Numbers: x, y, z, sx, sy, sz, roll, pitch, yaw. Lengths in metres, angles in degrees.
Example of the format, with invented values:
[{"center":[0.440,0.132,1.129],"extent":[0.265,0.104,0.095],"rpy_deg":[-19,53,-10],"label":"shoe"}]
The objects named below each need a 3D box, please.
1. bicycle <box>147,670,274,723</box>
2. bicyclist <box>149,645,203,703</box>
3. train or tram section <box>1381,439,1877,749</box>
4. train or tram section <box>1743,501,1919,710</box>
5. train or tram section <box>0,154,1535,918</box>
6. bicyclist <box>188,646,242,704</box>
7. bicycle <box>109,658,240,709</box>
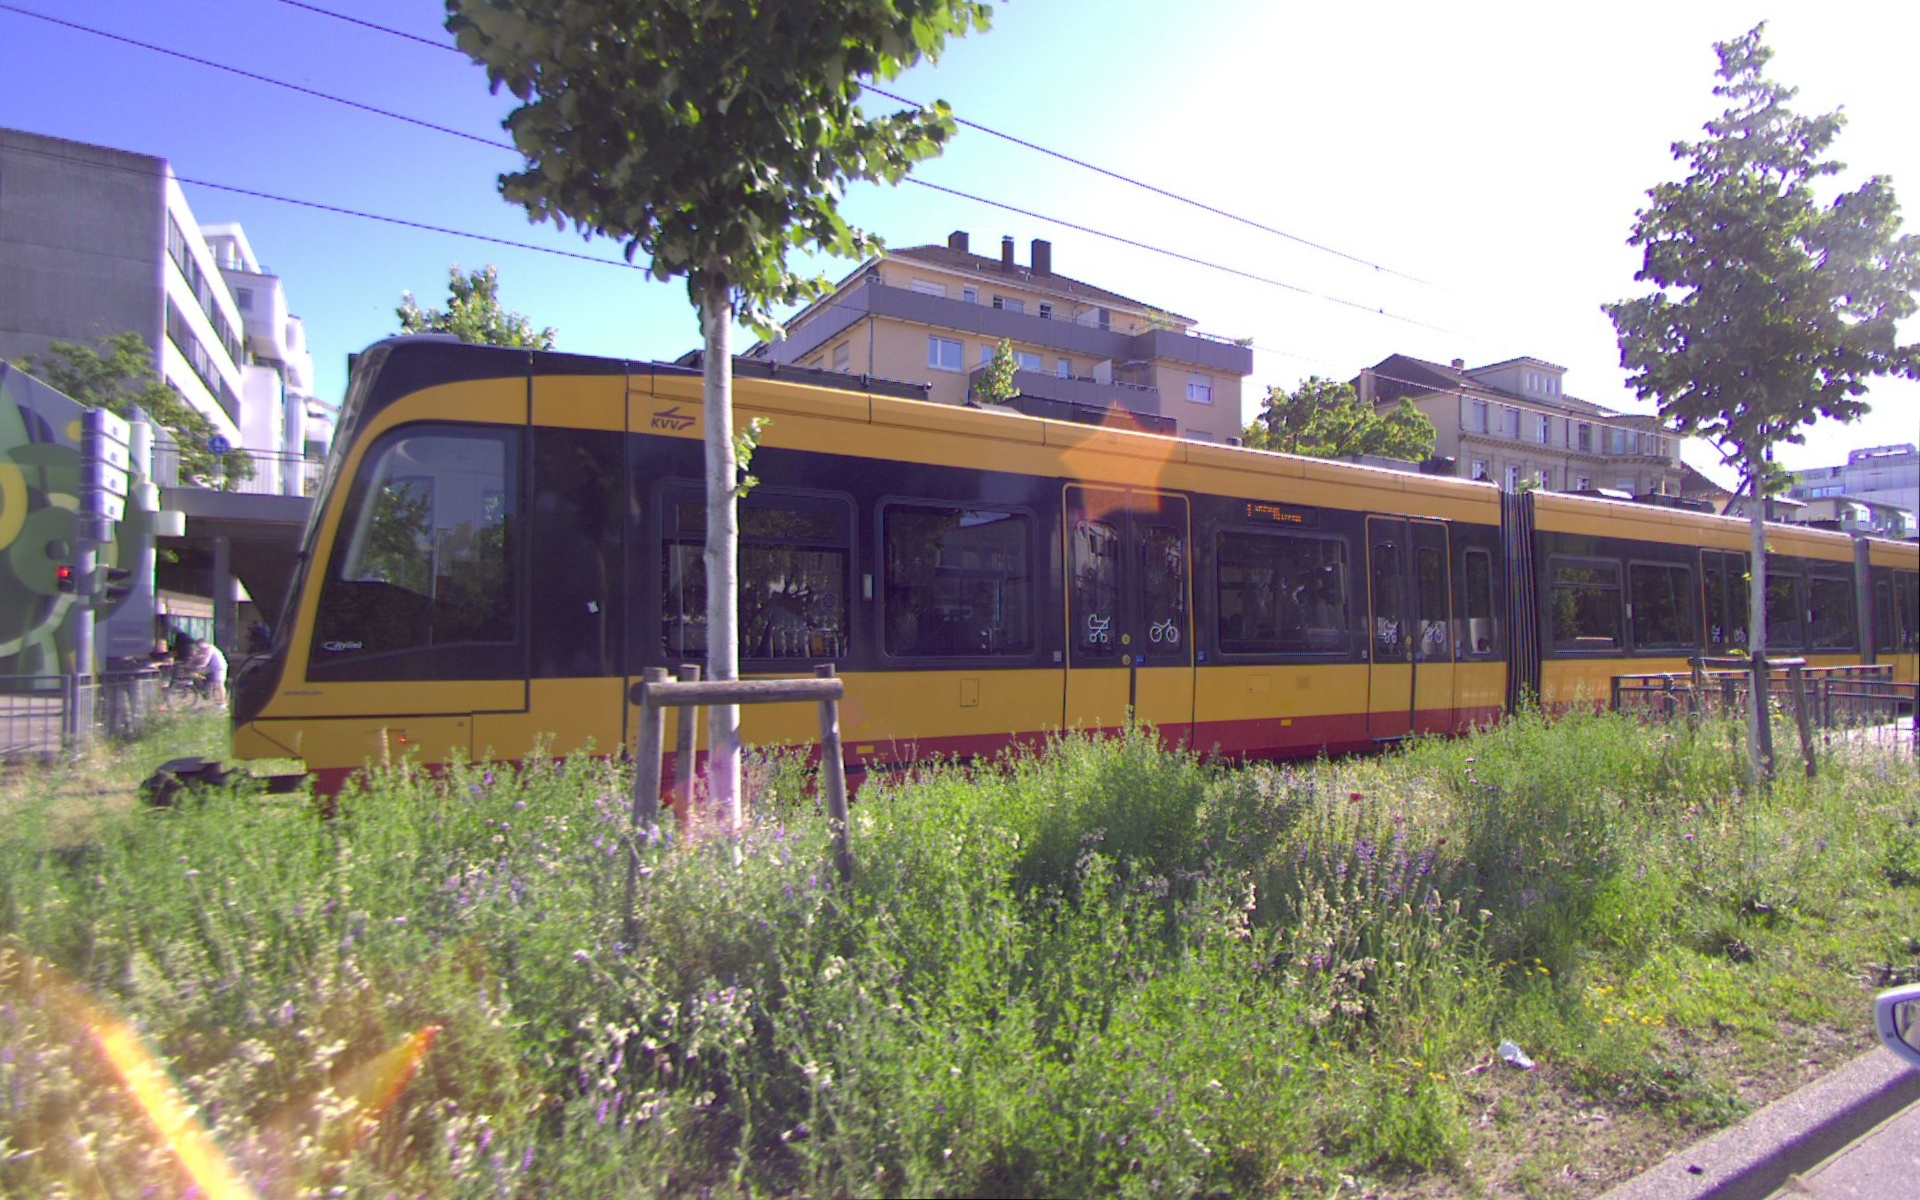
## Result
[{"center":[-16.769,2.128,22.590],"extent":[0.551,0.964,2.676],"rpy_deg":[1,-1,8],"label":"bicycle"},{"center":[-17.637,1.658,22.610],"extent":[0.568,1.241,0.768],"rpy_deg":[1,-1,9],"label":"bicyclist"},{"center":[11.060,0.054,15.833],"extent":[11.188,3.718,1.983],"rpy_deg":[1,-1,-31],"label":"train or tram section"},{"center":[20.742,0.230,21.697],"extent":[11.548,3.718,1.984],"rpy_deg":[1,-1,-31],"label":"train or tram section"},{"center":[0.472,-0.154,9.262],"extent":[13.993,3.718,1.983],"rpy_deg":[2,-1,-32],"label":"train or tram section"},{"center":[-16.750,1.673,22.603],"extent":[0.568,1.241,0.768],"rpy_deg":[1,-1,9],"label":"bicyclist"},{"center":[-17.639,1.842,22.659],"extent":[0.551,0.964,2.676],"rpy_deg":[1,-1,8],"label":"bicycle"}]
